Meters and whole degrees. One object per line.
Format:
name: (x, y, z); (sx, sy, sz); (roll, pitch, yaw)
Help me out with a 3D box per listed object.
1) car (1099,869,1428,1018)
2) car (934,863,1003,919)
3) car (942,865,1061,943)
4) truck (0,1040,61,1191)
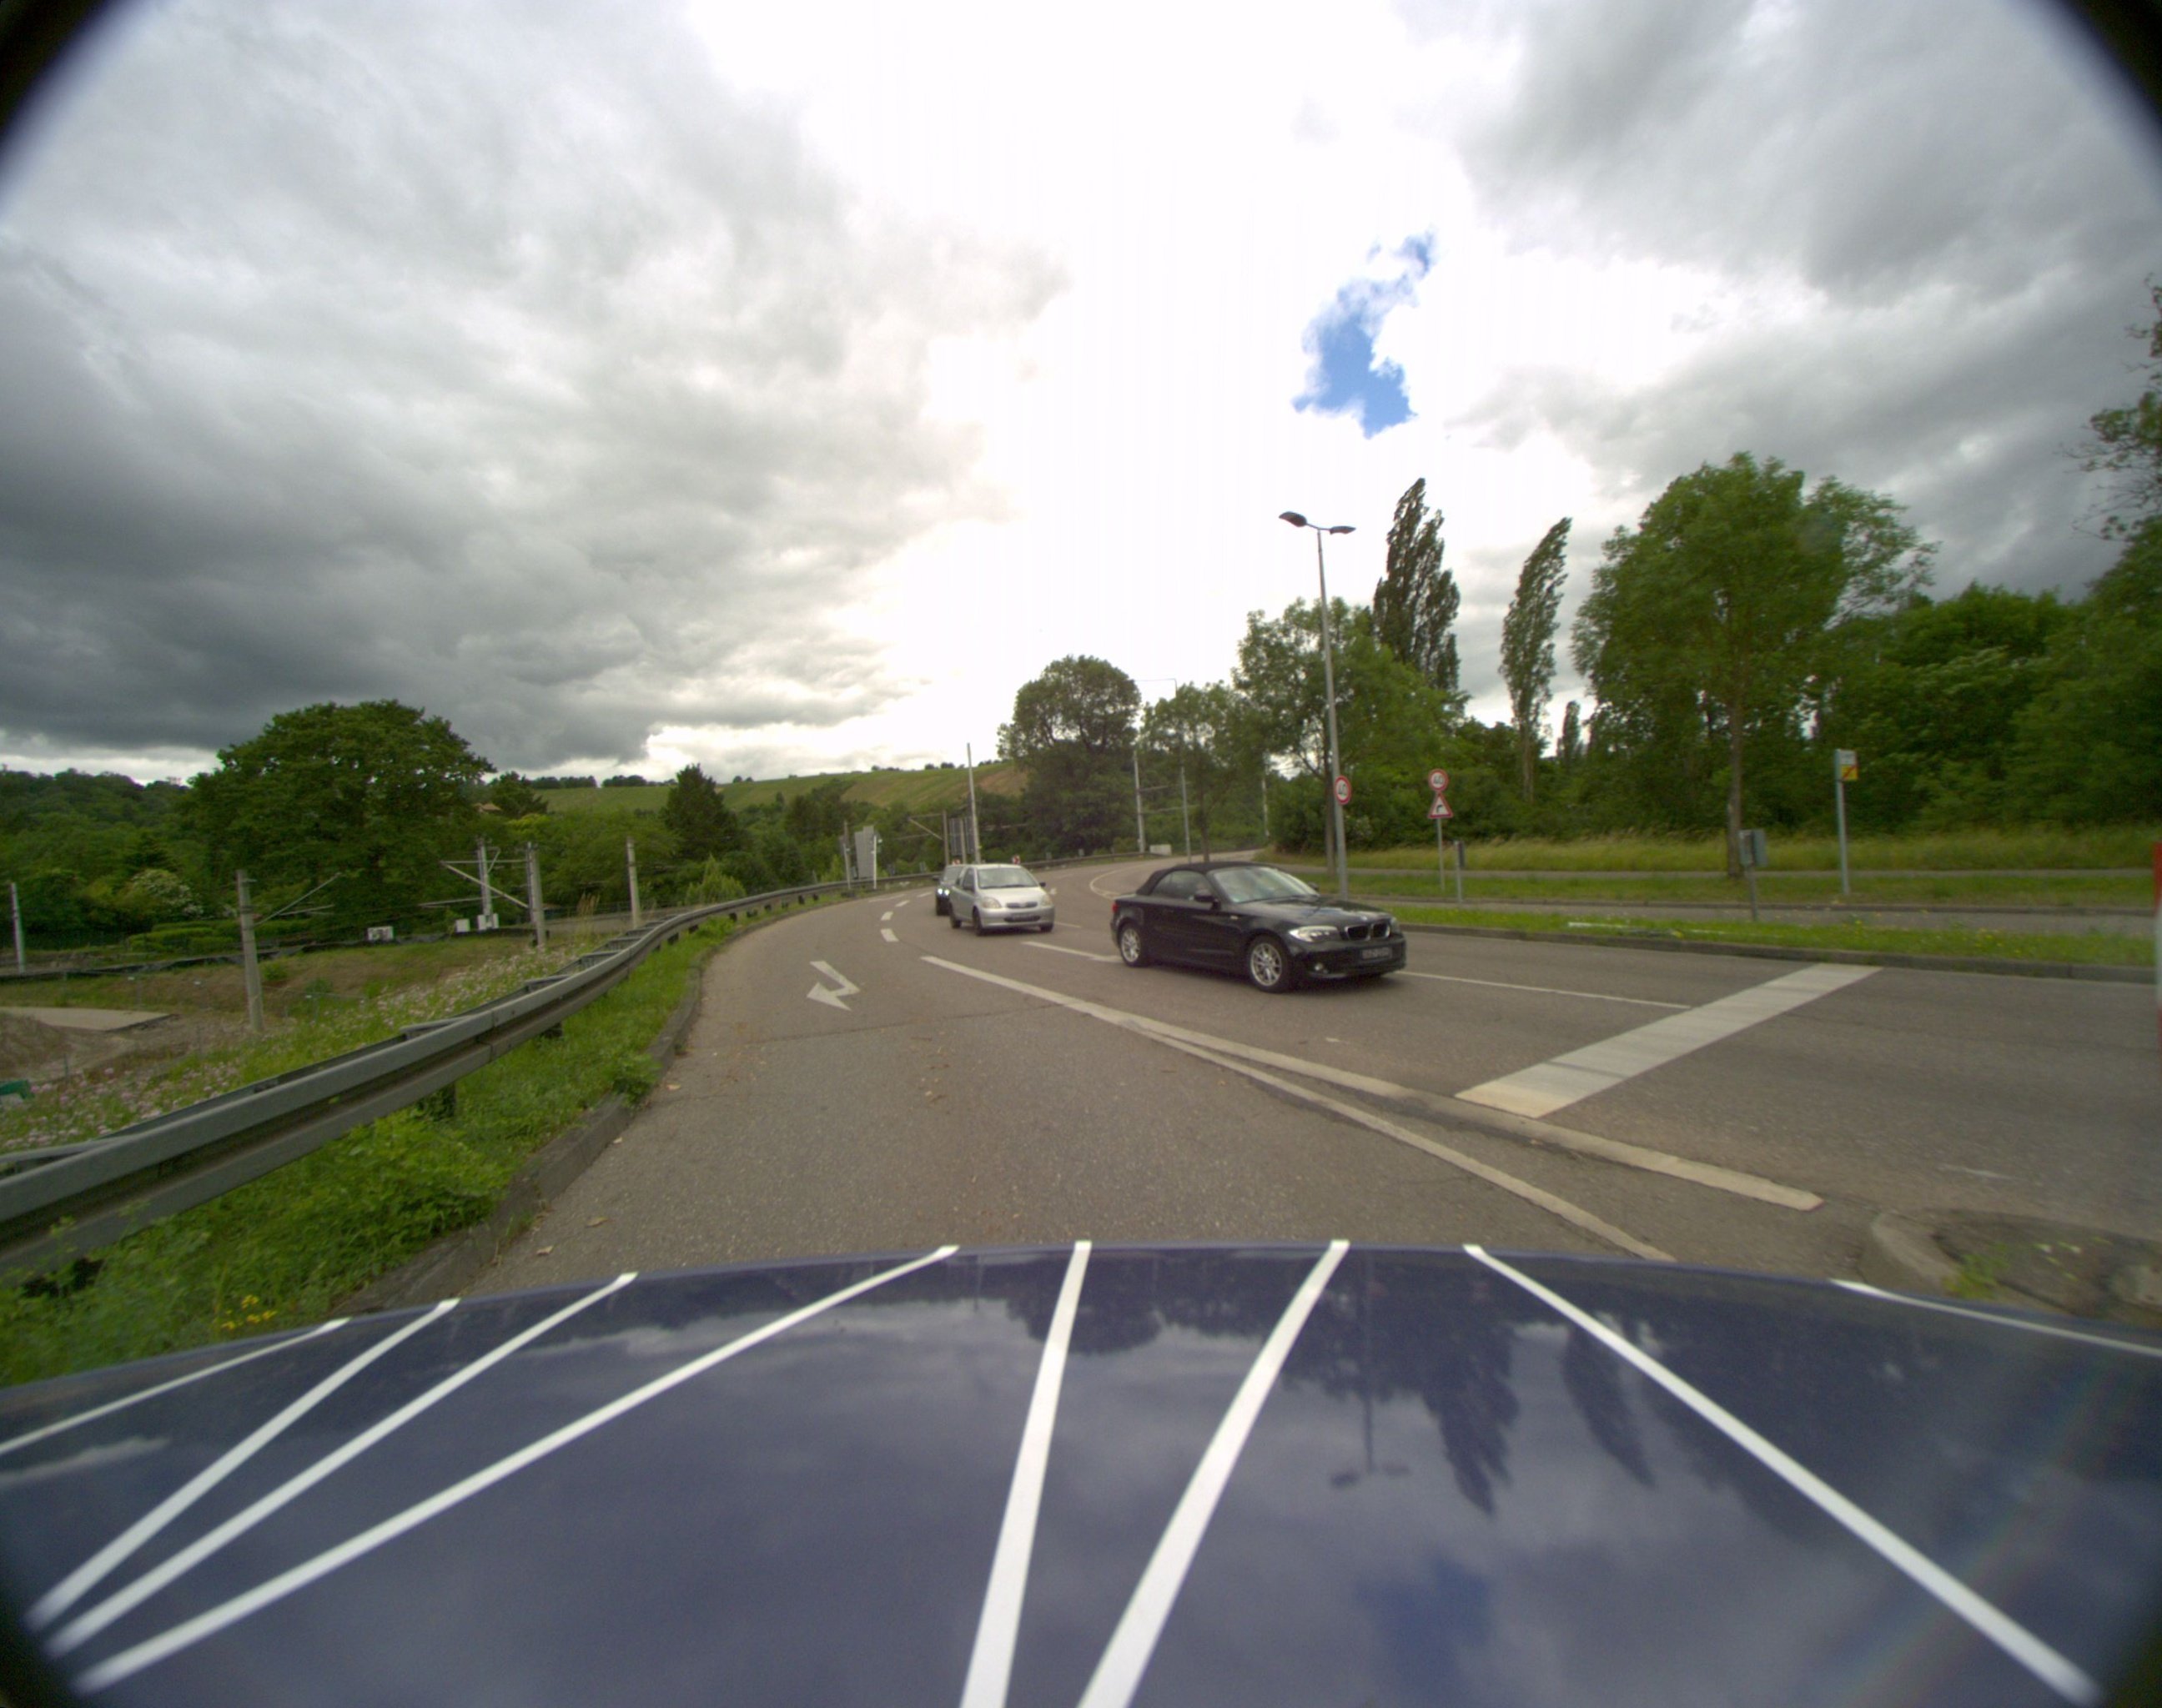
car: (1.954, 0.905, 9.396); (1.571, 1.360, 4.075); (-2, 0, -29)
car: (-3.636, 1.064, 24.061); (1.879, 1.468, 4.959); (-2, 0, -10)
car: (-1.890, 1.027, 17.093); (1.675, 1.461, 3.622); (-3, 1, -22)
truck: (-30.928, 7.368, 16.288); (2.845, 3.870, 11.617); (-4, -1, -4)
